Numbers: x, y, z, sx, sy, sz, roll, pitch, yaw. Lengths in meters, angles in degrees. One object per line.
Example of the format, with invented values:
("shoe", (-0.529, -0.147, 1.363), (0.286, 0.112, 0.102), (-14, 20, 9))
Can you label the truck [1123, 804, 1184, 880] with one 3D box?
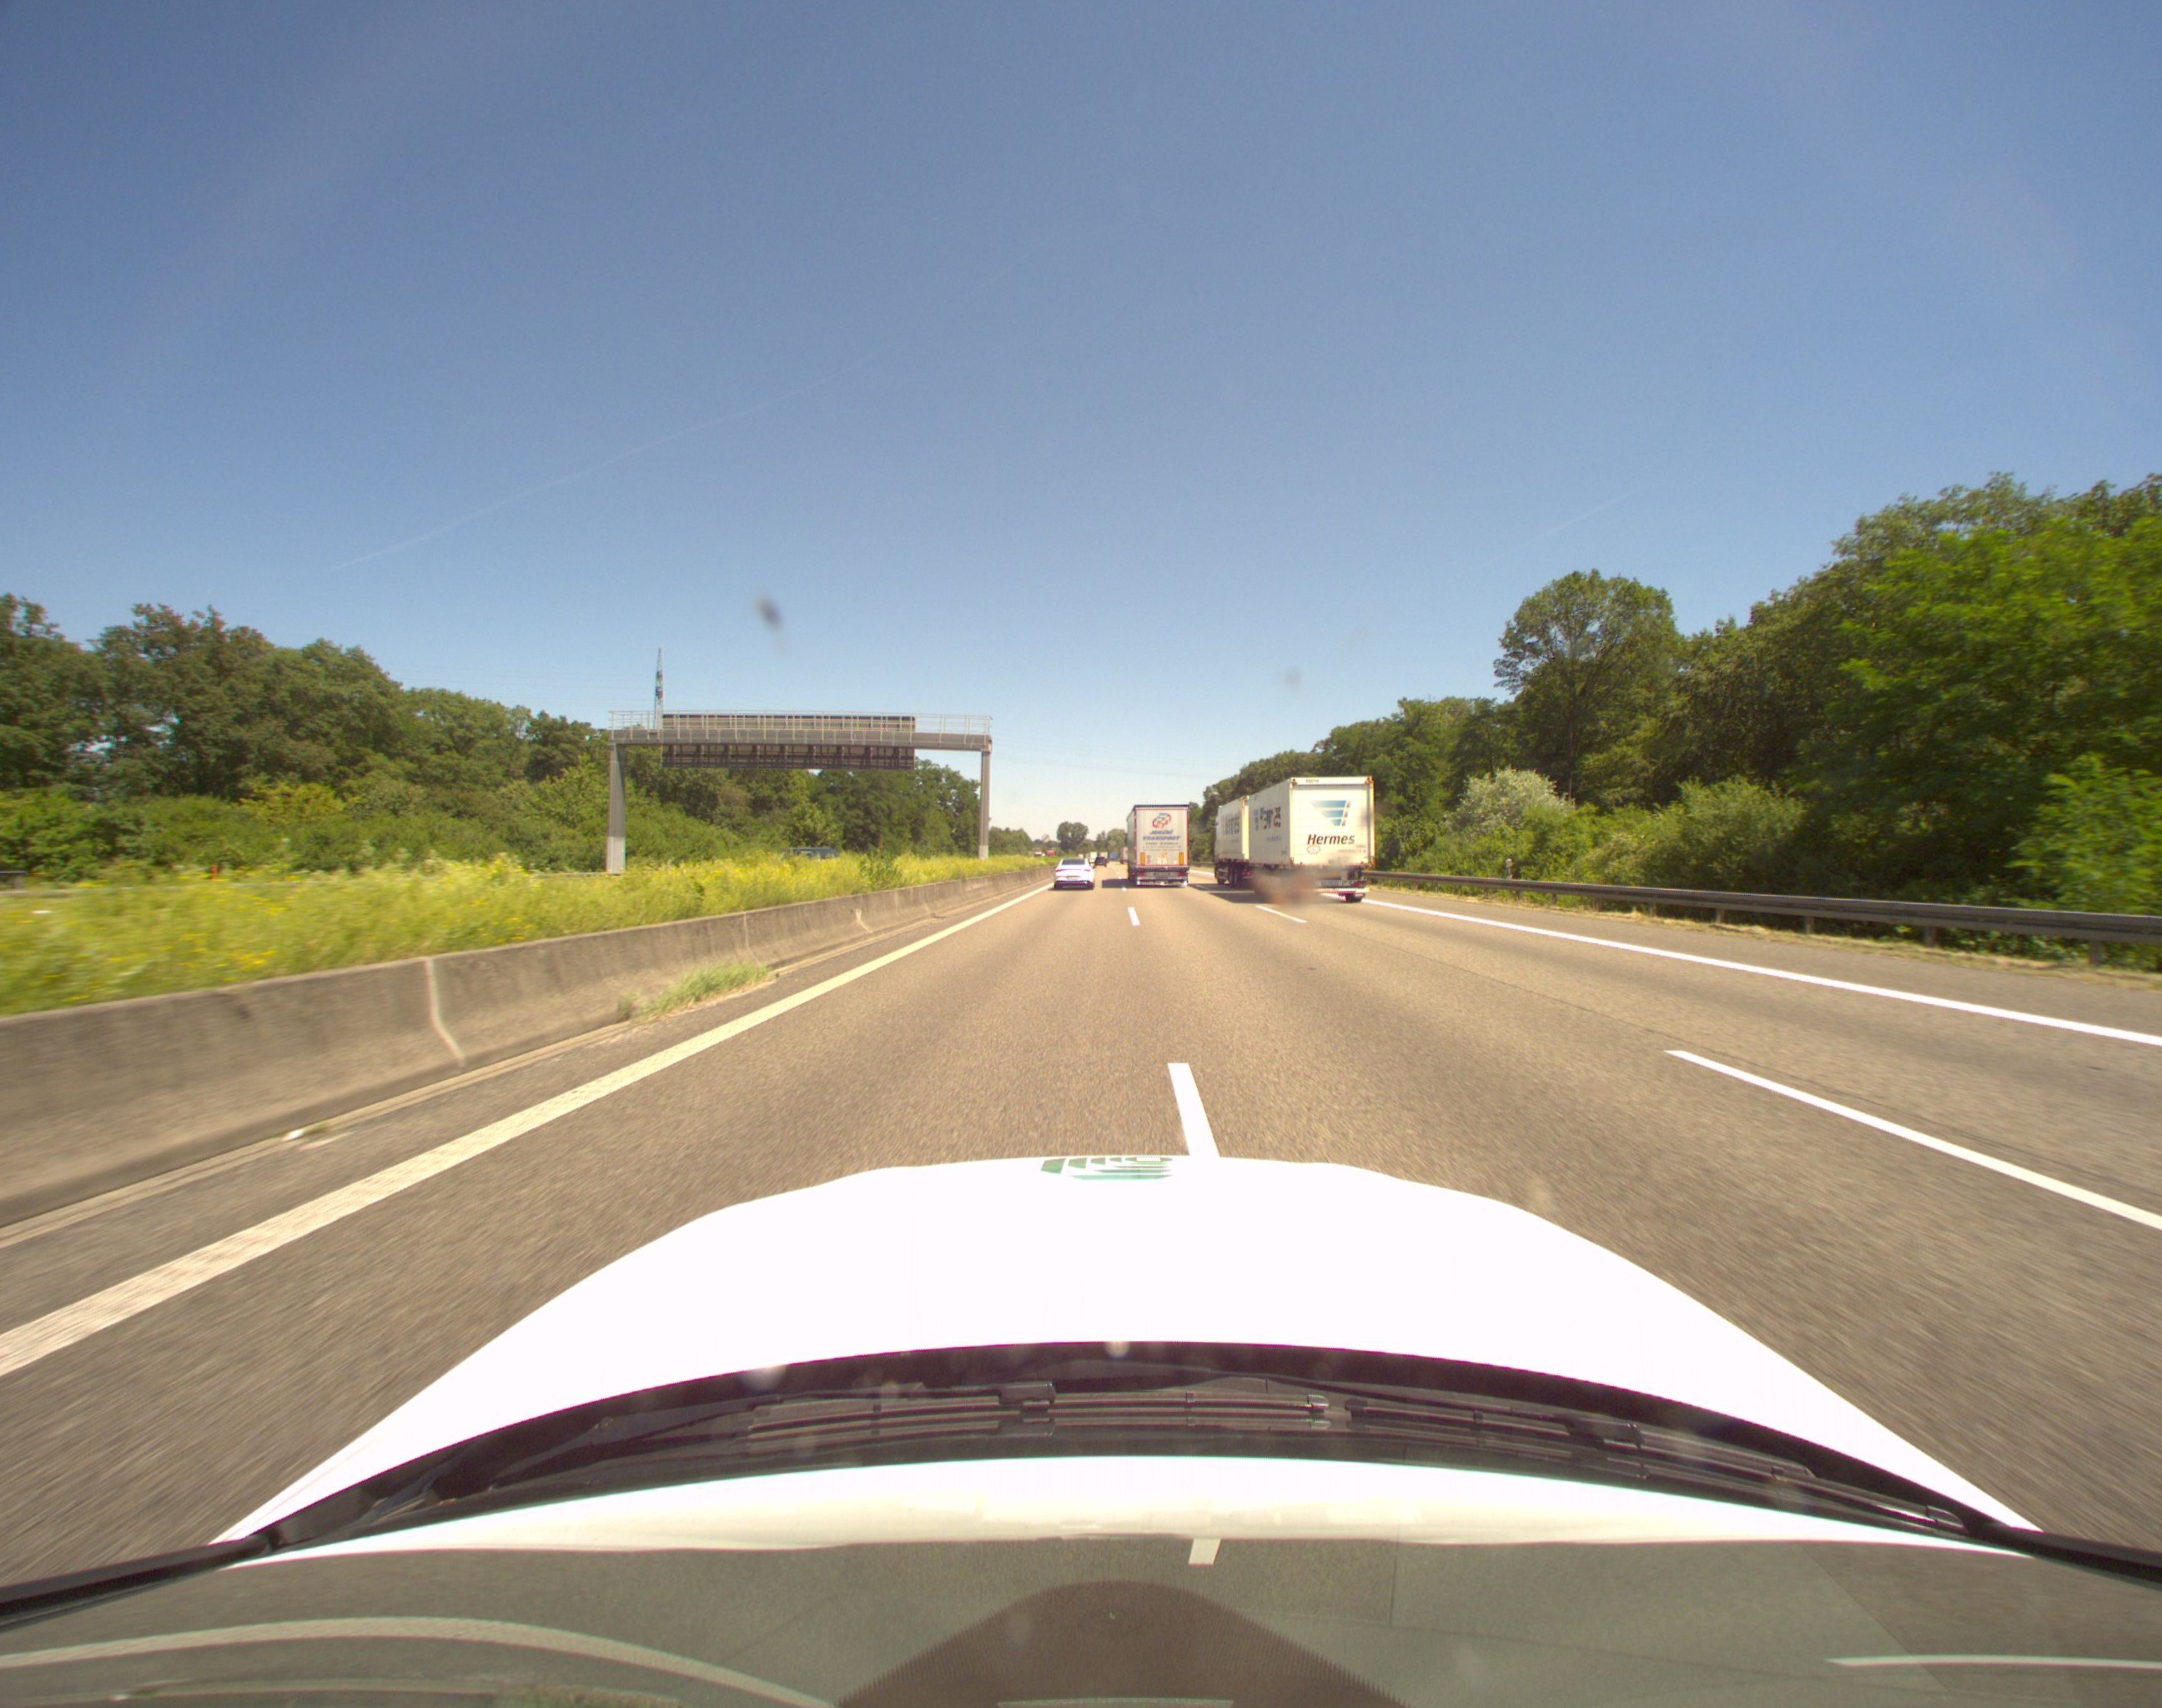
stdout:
("truck", (4.258, -0.682, 49.000), (3.207, 4.205, 6.552), (0, 0, 1))

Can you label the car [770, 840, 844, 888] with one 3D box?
("car", (-12.273, 0.422, 36.733), (1.765, 2.057, 4.006), (0, 0, 3))

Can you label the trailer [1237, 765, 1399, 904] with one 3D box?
("trailer", (7.932, -0.606, 28.794), (3.355, 4.142, 9.096), (0, 0, 2))

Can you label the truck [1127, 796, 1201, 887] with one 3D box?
("truck", (4.074, -0.609, 41.841), (3.217, 4.202, 8.469), (0, 0, 2))

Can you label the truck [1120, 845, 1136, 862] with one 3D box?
("truck", (11.093, -0.162, 192.127), (3.432, 3.989, 9.517), (0, 0, 1))

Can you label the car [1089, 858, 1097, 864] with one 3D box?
("car", (3.338, 1.856, 220.916), (1.986, 1.596, 4.002), (0, 0, 2))

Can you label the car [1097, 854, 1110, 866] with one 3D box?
("car", (3.648, 0.934, 130.117), (1.986, 1.874, 4.002), (0, 2, 2))

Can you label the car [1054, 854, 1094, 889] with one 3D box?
("car", (-0.273, 0.798, 38.839), (1.760, 1.448, 5.110), (-1, 1, 1))

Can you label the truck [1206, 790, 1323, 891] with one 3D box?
("truck", (8.211, -0.558, 38.139), (3.313, 4.053, 10.958), (0, 0, 2))

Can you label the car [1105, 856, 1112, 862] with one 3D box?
("car", (7.762, 1.439, 232.610), (1.986, 1.596, 4.002), (0, 0, 2))
